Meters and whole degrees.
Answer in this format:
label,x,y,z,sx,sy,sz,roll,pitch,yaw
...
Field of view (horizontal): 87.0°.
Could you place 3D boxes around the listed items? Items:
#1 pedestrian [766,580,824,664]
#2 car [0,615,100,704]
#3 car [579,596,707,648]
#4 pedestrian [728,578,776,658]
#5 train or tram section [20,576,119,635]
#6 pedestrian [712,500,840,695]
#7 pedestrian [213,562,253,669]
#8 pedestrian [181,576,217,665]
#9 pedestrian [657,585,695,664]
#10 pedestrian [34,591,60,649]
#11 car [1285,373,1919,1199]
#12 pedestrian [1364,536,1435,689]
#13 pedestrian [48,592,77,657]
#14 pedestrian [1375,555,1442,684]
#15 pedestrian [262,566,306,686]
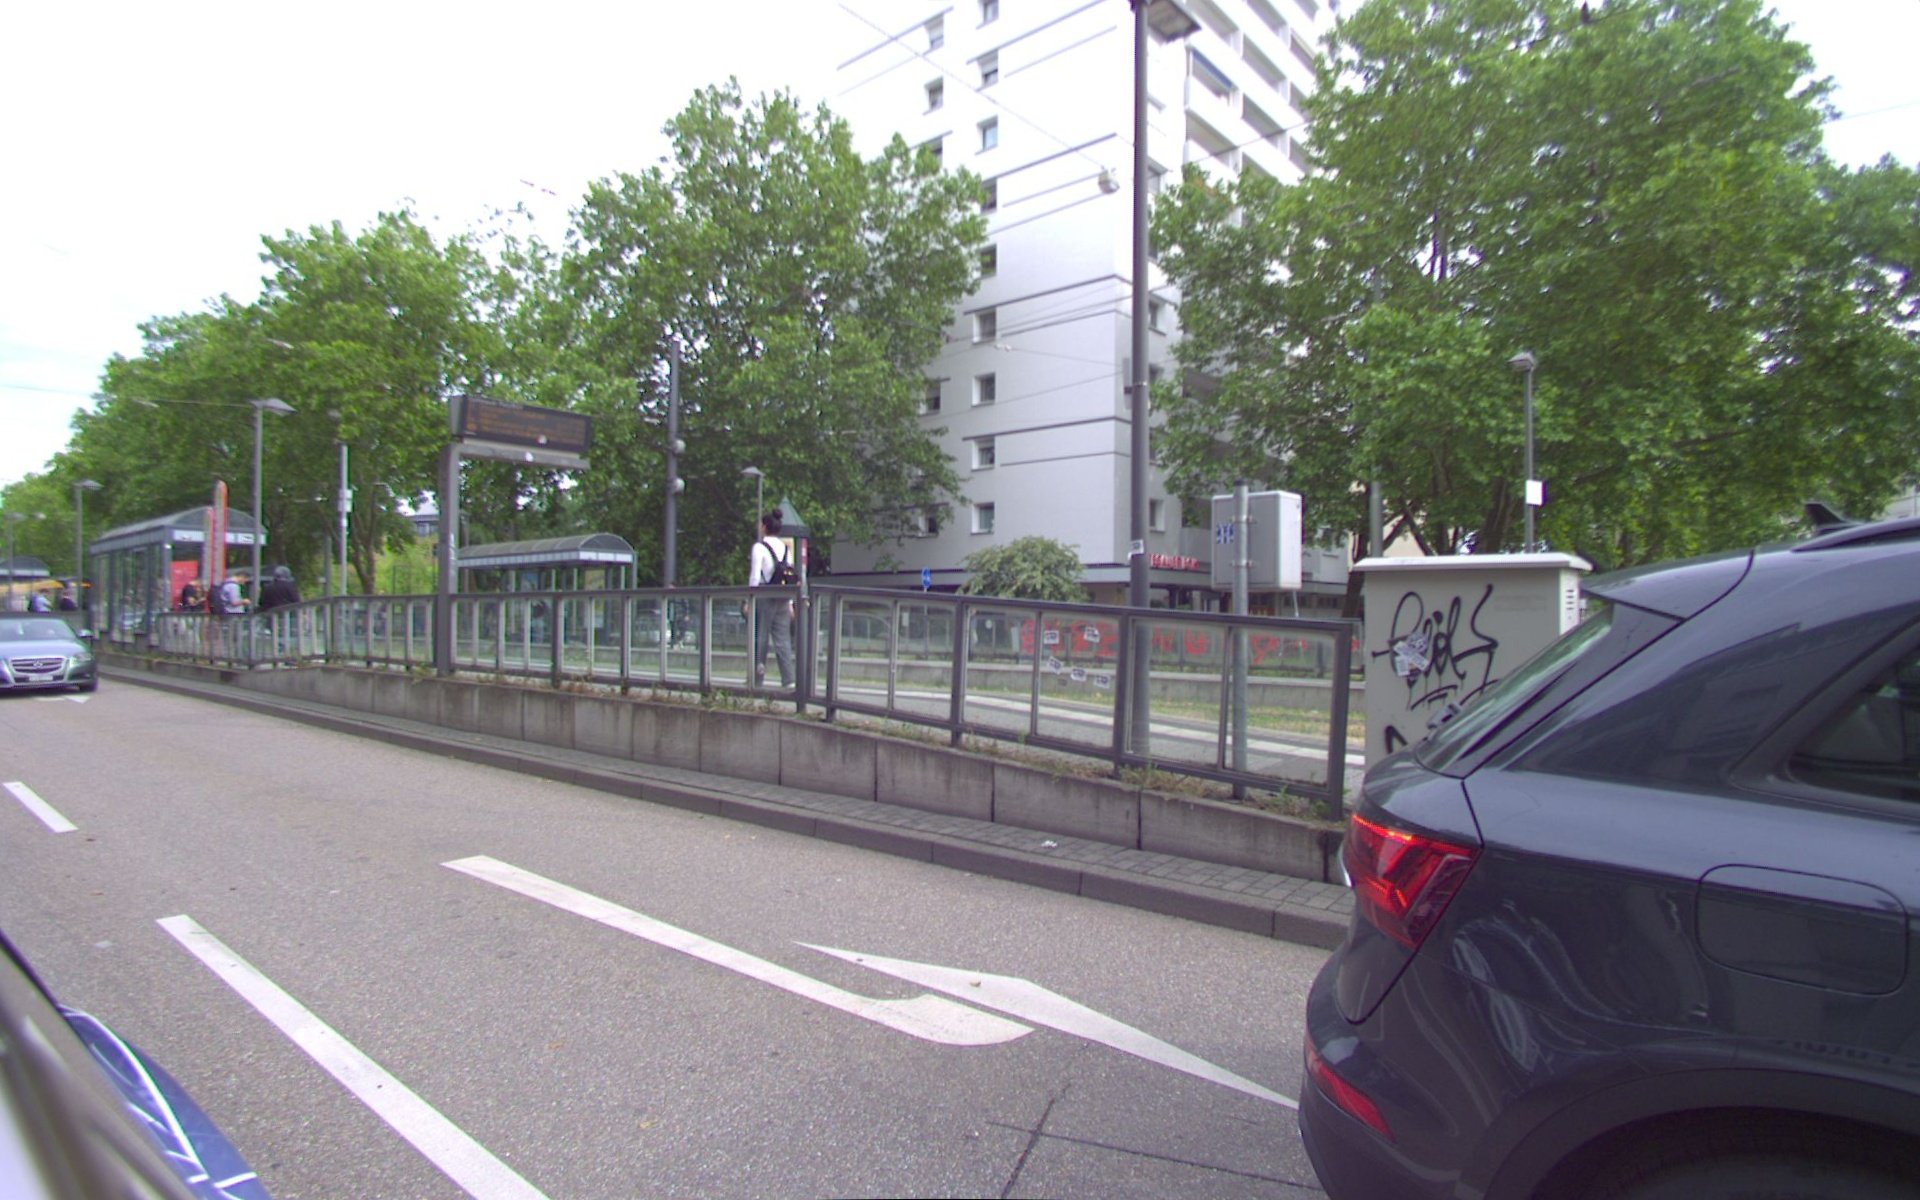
label,x,y,z,sx,sy,sz,roll,pitch,yaw
pedestrian,-3.558,0.456,21.812,0.850,1.769,0.871,-1,0,41
car,-16.721,0.989,17.918,4.097,1.398,1.694,-1,0,41
car,-10.260,0.682,32.703,3.991,1.564,1.912,-1,0,35
pedestrian,-4.928,0.420,23.975,0.666,1.848,0.871,-1,0,41
train or tram section,-62.249,0.417,70.520,15.196,3.781,3.295,-1,0,41
pedestrian,-1.698,-0.018,9.312,0.979,1.683,0.711,-1,0,44
pedestrian,-12.692,0.266,17.668,0.605,1.818,0.469,-1,0,45
pedestrian,-15.912,0.419,21.161,0.467,1.818,0.607,-1,0,-24
pedestrian,-7.066,0.602,25.170,0.553,1.945,0.690,-1,0,41
pedestrian,-29.024,0.624,32.183,0.523,1.818,0.607,-1,0,-35
car,2.703,0.535,0.971,4.225,1.649,1.715,-1,0,41
pedestrian,5.857,0.162,13.480,0.666,1.965,0.728,-1,0,41
pedestrian,-25.555,0.693,28.821,0.523,1.818,0.607,-1,0,-35
pedestrian,6.345,0.260,14.326,0.666,1.763,0.728,-1,0,41
pedestrian,-10.516,0.389,15.741,0.513,1.818,0.606,-1,0,-37
